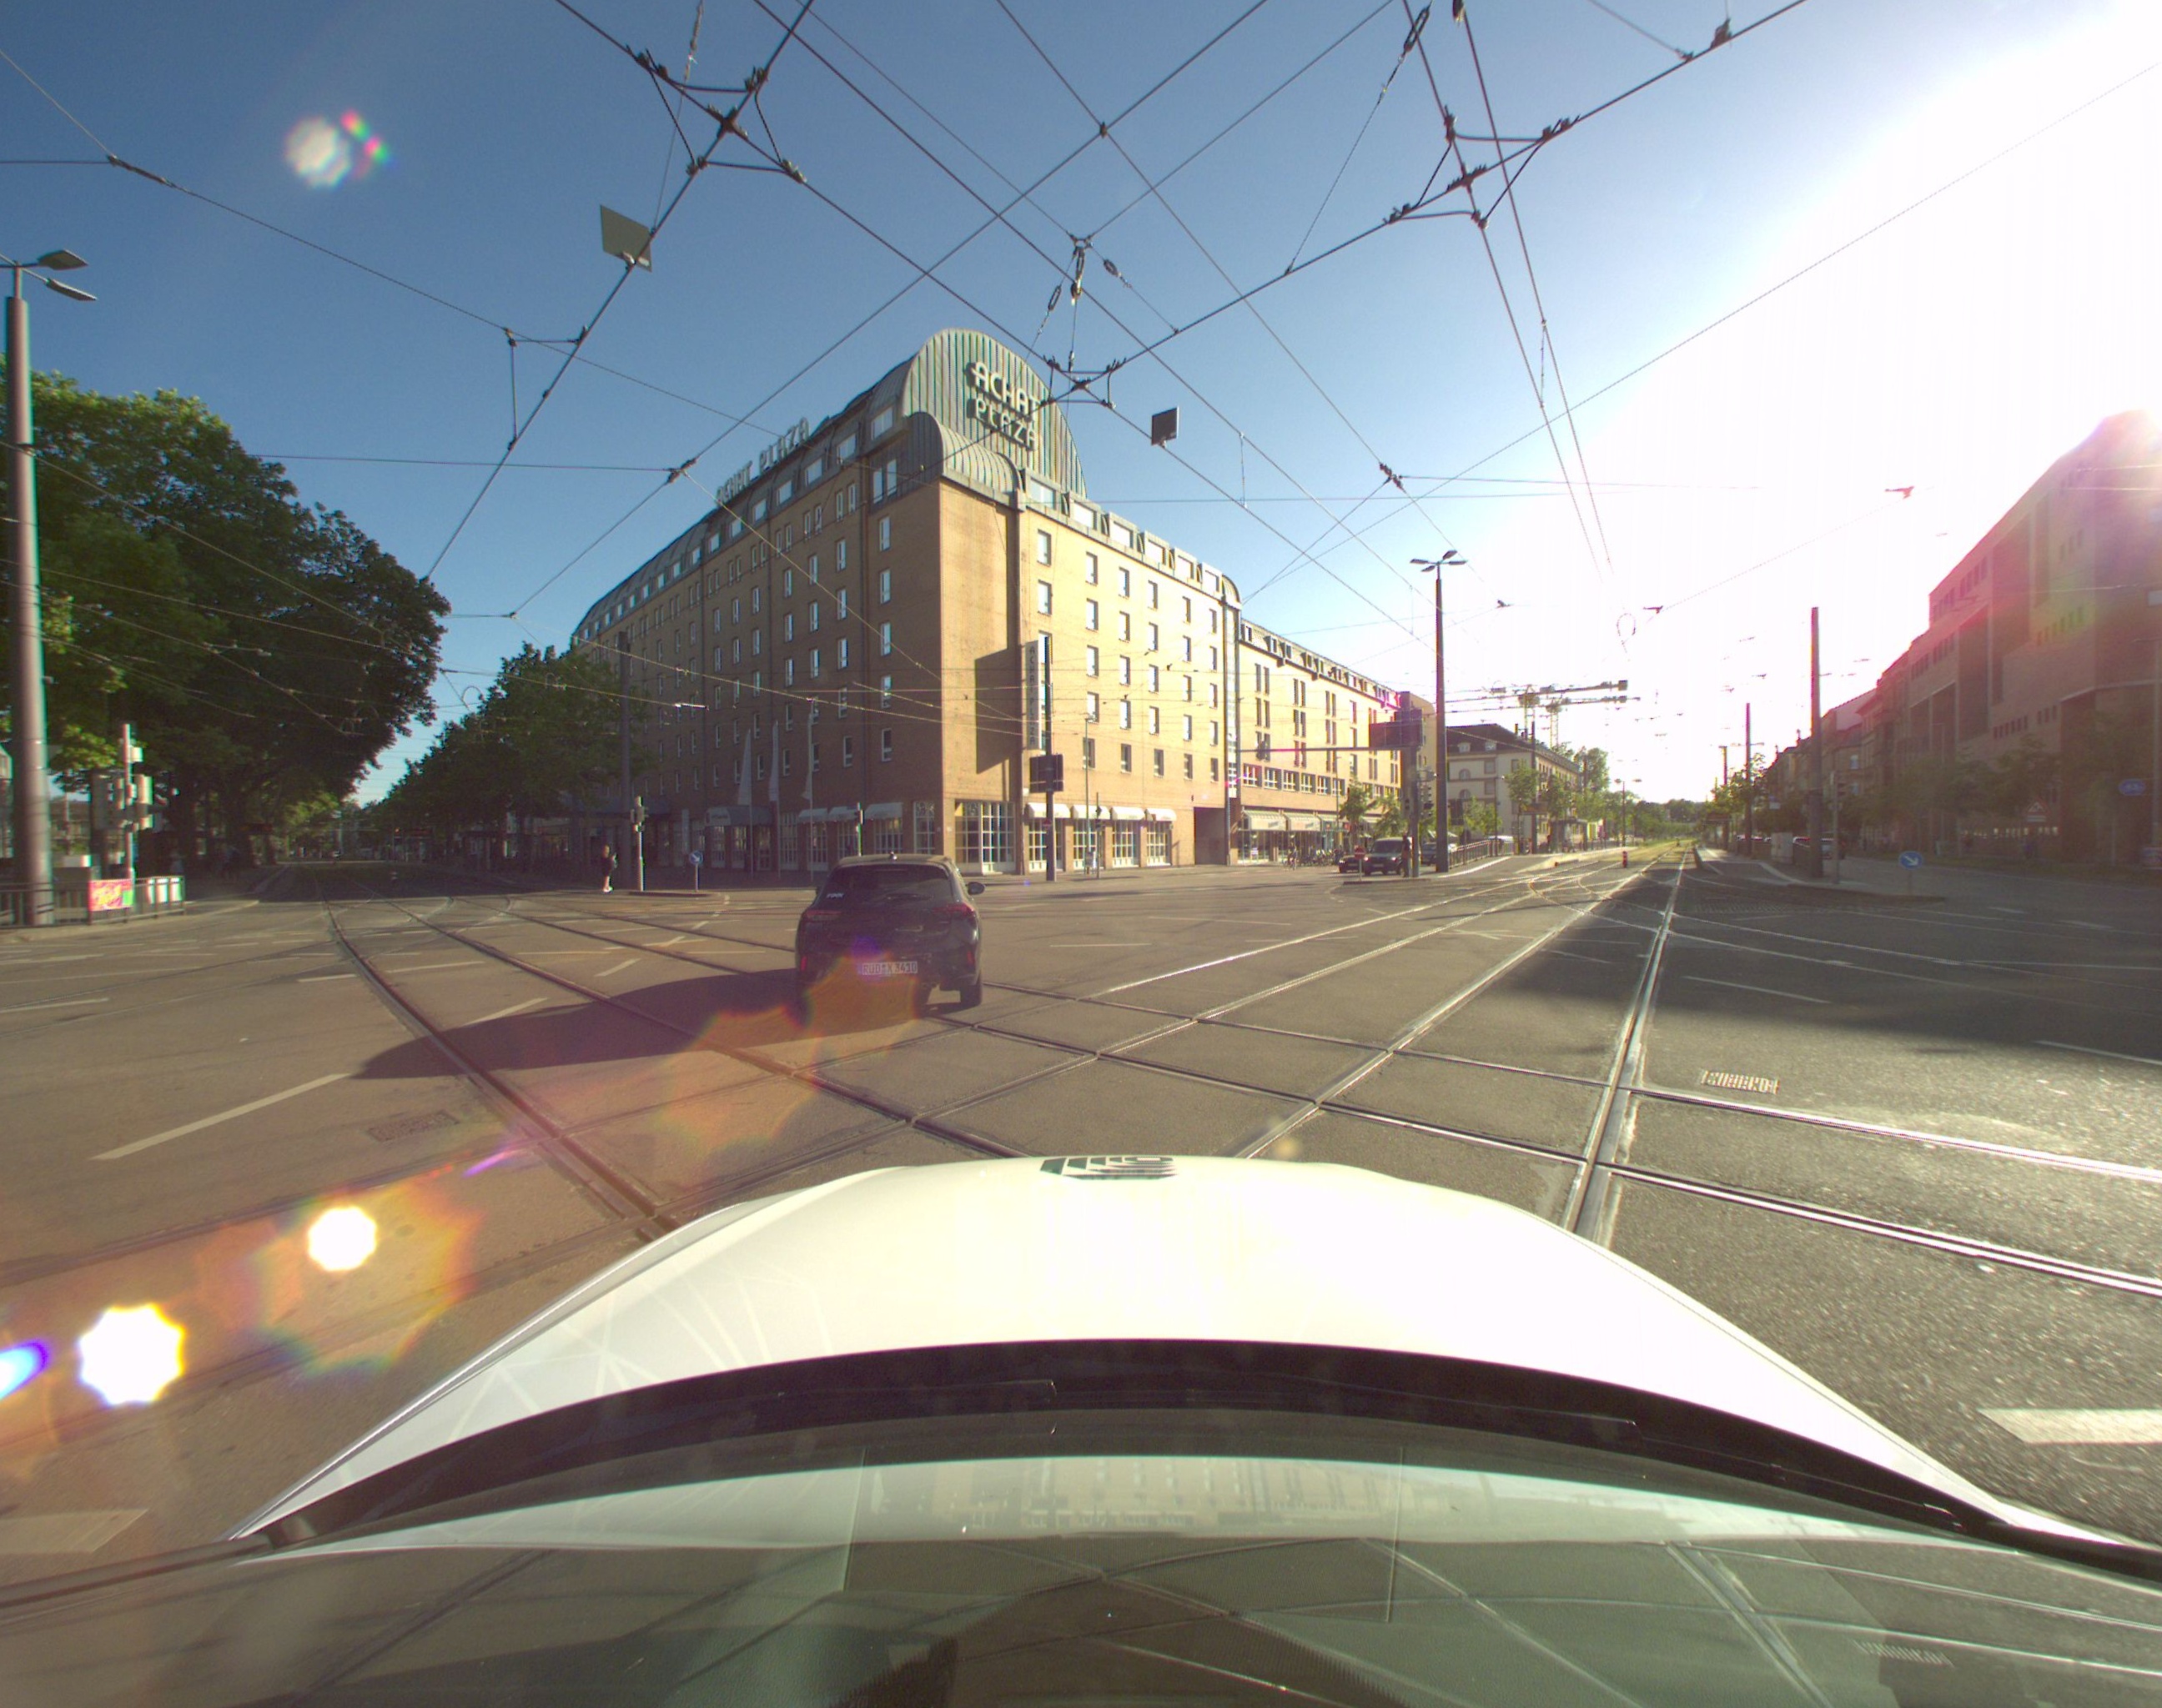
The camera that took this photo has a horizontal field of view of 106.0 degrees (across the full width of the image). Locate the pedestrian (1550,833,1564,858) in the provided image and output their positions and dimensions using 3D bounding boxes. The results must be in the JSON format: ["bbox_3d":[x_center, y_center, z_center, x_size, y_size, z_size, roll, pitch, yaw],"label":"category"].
[{"bbox_3d":[36.625,-0.689,62.647,0.853,1.886,0.742,0,2,28],"label":"pedestrian"}]

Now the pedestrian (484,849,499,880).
[{"bbox_3d":[-33.265,0.589,45.957,0.609,1.680,0.480,-3,1,-44],"label":"pedestrian"}]

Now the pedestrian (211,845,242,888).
[{"bbox_3d":[-37.279,0.539,35.538,0.591,1.828,0.741,0,0,-12],"label":"pedestrian"}]

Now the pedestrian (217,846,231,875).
[{"bbox_3d":[-47.756,0.359,45.383,0.505,1.573,0.488,0,2,-40],"label":"pedestrian"}]

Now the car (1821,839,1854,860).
[{"bbox_3d":[55.103,-0.329,59.356,1.545,1.456,3.453,-1,0,40],"label":"car"}]

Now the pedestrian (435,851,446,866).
[{"bbox_3d":[-60.402,0.427,76.804,0.619,1.444,0.729,0,0,43],"label":"pedestrian"}]

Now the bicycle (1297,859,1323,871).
[{"bbox_3d":[17.555,0.849,62.448,0.485,0.845,2.016,-1,0,-41],"label":"bicycle"}]

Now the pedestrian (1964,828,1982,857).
[{"bbox_3d":[56.252,-0.728,51.336,0.634,1.786,0.693,-1,-1,39],"label":"pedestrian"}]

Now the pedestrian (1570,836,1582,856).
[{"bbox_3d":[42.357,-0.687,69.679,0.853,1.670,0.789,0,2,28],"label":"pedestrian"}]

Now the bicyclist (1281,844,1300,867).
[{"bbox_3d":[13.094,0.091,50.905,0.802,1.377,0.931,-1,0,37],"label":"bicyclist"}]

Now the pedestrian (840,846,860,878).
[{"bbox_3d":[-12.174,0.429,42.929,0.743,1.665,0.746,0,1,40],"label":"pedestrian"}]

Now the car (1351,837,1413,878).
[{"bbox_3d":[14.460,0.165,38.972,1.821,1.836,4.133,-2,-1,34],"label":"car"}]

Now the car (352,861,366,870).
[{"bbox_3d":[-131.399,2.046,148.186,1.628,1.501,3.645,0,0,-44],"label":"car"}]

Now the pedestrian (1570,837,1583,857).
[{"bbox_3d":[41.976,-0.603,68.969,0.853,1.670,0.742,0,2,28],"label":"pedestrian"}]

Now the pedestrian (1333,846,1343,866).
[{"bbox_3d":[23.447,0.192,74.328,0.709,1.764,0.569,-2,-1,41],"label":"pedestrian"}]

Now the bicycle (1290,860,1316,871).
[{"bbox_3d":[16.803,0.865,61.660,0.485,0.845,2.016,-1,0,-41],"label":"bicycle"}]

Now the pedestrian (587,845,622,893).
[{"bbox_3d":[-17.140,0.535,29.275,0.707,1.680,0.836,-1,1,40],"label":"pedestrian"}]

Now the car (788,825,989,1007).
[{"bbox_3d":[-2.072,0.508,8.751,1.674,1.502,3.672,0,0,-14],"label":"car"}]

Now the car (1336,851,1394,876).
[{"bbox_3d":[15.601,0.509,44.632,1.821,1.268,4.257,-2,-1,36],"label":"car"}]

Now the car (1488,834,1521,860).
[{"bbox_3d":[52.062,-0.944,100.028,2.354,2.998,8.525,-1,1,35],"label":"car"}]

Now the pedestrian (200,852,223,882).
[{"bbox_3d":[-46.456,0.690,43.532,0.482,1.573,0.672,1,1,-1],"label":"pedestrian"}]

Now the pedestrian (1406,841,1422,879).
[{"bbox_3d":[14.017,0.260,34.307,0.575,1.577,0.650,0,0,25],"label":"pedestrian"}]

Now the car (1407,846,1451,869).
[{"bbox_3d":[23.975,0.223,56.032,1.821,1.448,4.326,-2,-1,37],"label":"car"}]

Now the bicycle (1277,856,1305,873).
[{"bbox_3d":[13.189,0.641,51.008,0.802,0.991,2.525,-1,0,37],"label":"bicycle"}]

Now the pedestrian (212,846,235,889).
[{"bbox_3d":[-36.834,0.555,34.978,0.735,1.828,0.640,0,0,42],"label":"pedestrian"}]

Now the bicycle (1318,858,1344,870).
[{"bbox_3d":[19.751,0.774,64.313,0.485,0.921,2.016,-1,0,-41],"label":"bicycle"}]

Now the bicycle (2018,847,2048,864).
[{"bbox_3d":[51.106,0.057,43.718,0.642,0.904,2.360,0,0,39],"label":"bicycle"}]

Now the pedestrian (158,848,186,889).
[{"bbox_3d":[-40.285,0.614,36.085,0.594,1.800,0.738,0,0,-28],"label":"pedestrian"}]

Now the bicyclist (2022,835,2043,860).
[{"bbox_3d":[51.205,-0.356,43.842,0.639,1.339,0.657,0,0,39],"label":"bicyclist"}]

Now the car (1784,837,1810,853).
[{"bbox_3d":[66.904,-0.805,76.127,1.655,1.453,3.721,-1,0,38],"label":"car"}]

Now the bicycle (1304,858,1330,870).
[{"bbox_3d":[18.437,0.773,63.636,0.485,0.921,2.016,-1,0,-41],"label":"bicycle"}]

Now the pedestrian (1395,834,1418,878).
[{"bbox_3d":[13.074,0.083,32.705,0.714,1.727,0.598,-1,0,39],"label":"pedestrian"}]
